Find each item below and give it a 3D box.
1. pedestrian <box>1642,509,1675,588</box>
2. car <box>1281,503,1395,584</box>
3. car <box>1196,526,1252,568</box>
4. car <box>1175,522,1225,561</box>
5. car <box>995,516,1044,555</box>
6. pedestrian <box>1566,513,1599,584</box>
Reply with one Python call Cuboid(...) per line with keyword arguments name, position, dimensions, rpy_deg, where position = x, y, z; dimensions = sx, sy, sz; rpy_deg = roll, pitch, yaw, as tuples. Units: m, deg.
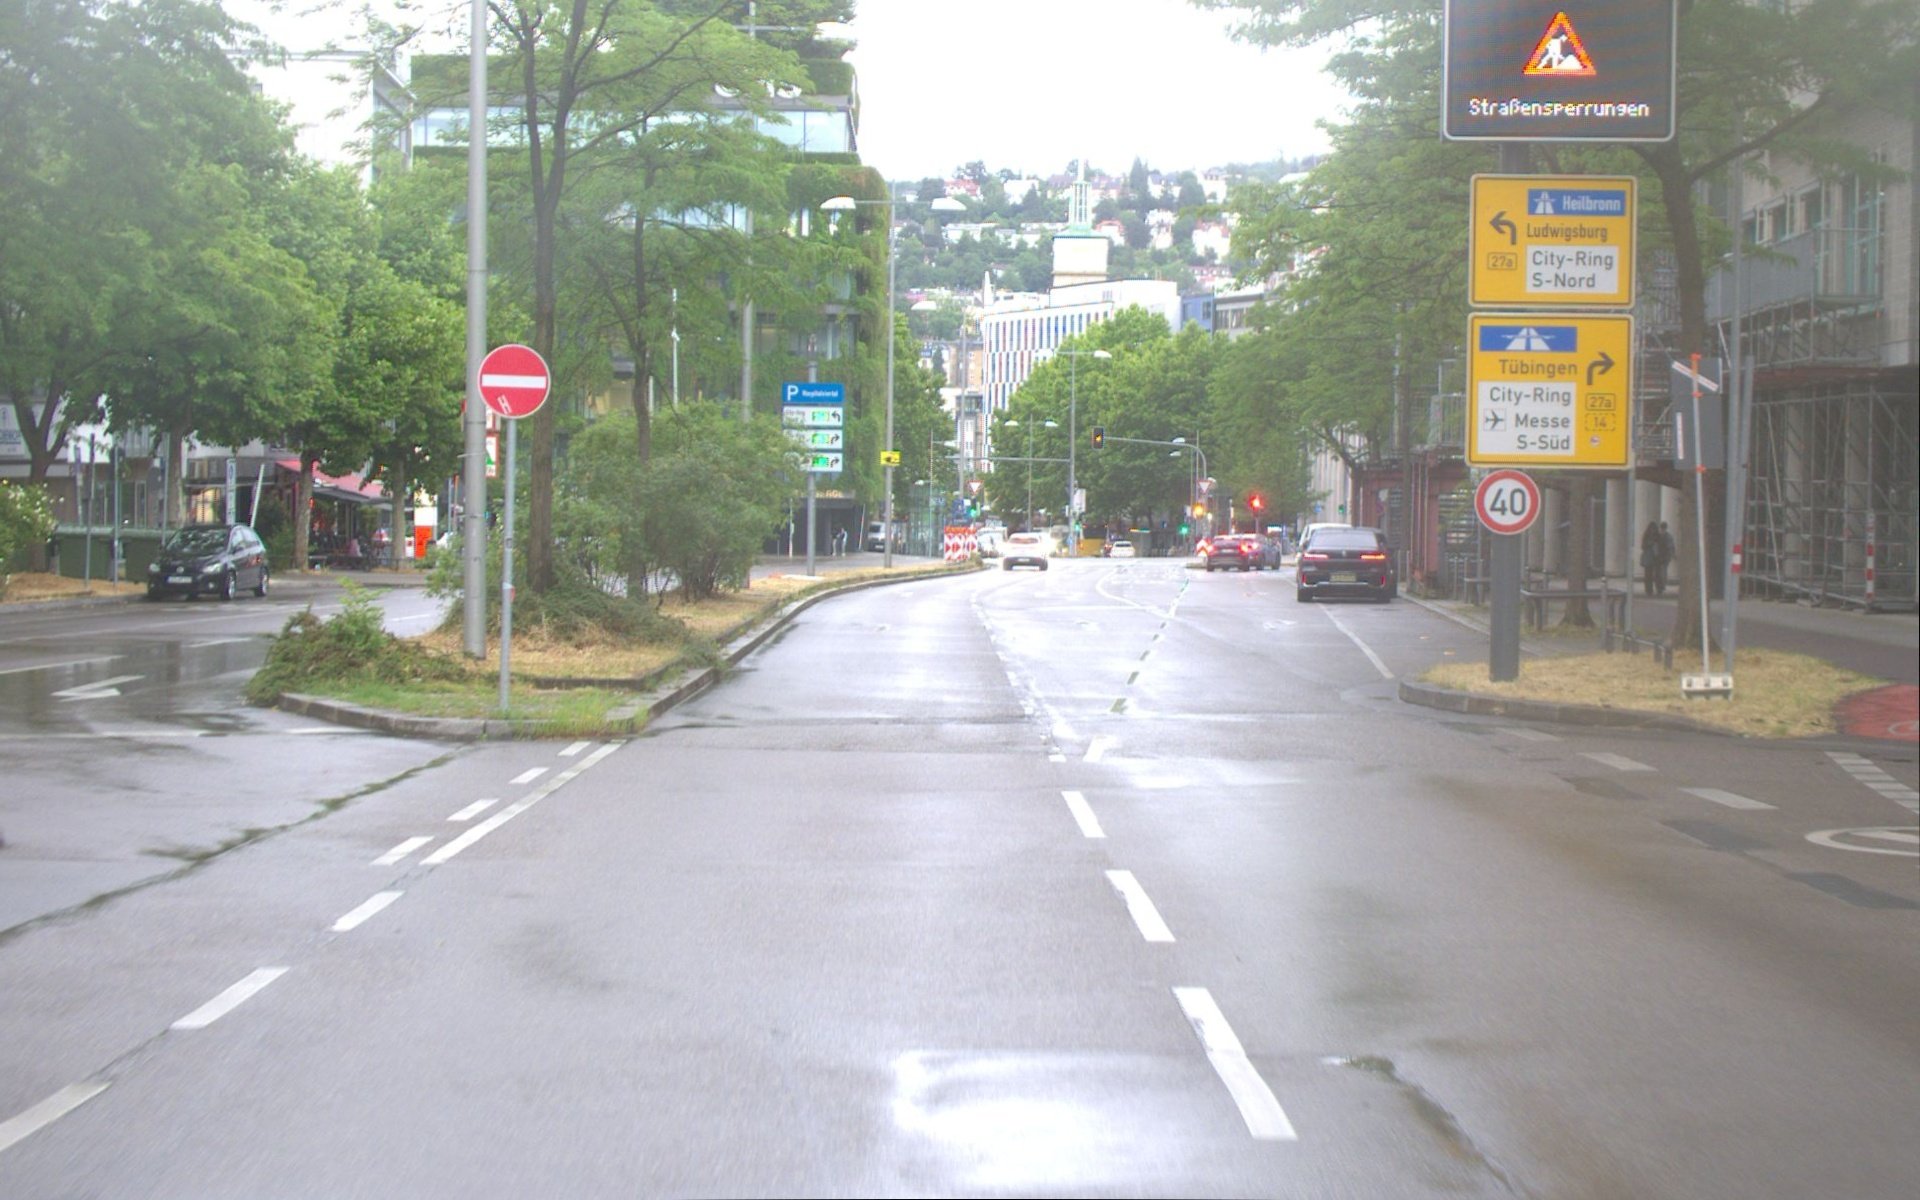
Cuboid(name="pedestrian", position=(17.031, -1.258, 83.824), dimensions=(0.775, 1.914, 0.702), rpy_deg=(0, 0, 10))
Cuboid(name="car", position=(8.047, -1.212, 73.104), dimensions=(2.339, 1.685, 3.999), rpy_deg=(0, 1, 7))
Cuboid(name="car", position=(11.141, -2.244, 145.353), dimensions=(1.993, 1.718, 4.000), rpy_deg=(0, 0, -1))
Cuboid(name="car", position=(10.905, -2.646, 156.483), dimensions=(1.993, 1.730, 4.000), rpy_deg=(0, 0, 0))
Cuboid(name="car", position=(2.614, -2.837, 151.676), dimensions=(1.828, 1.634, 4.301), rpy_deg=(2, 1, -3))
Cuboid(name="pedestrian", position=(16.893, -1.383, 93.307), dimensions=(0.775, 1.914, 0.702), rpy_deg=(0, 0, -1))
